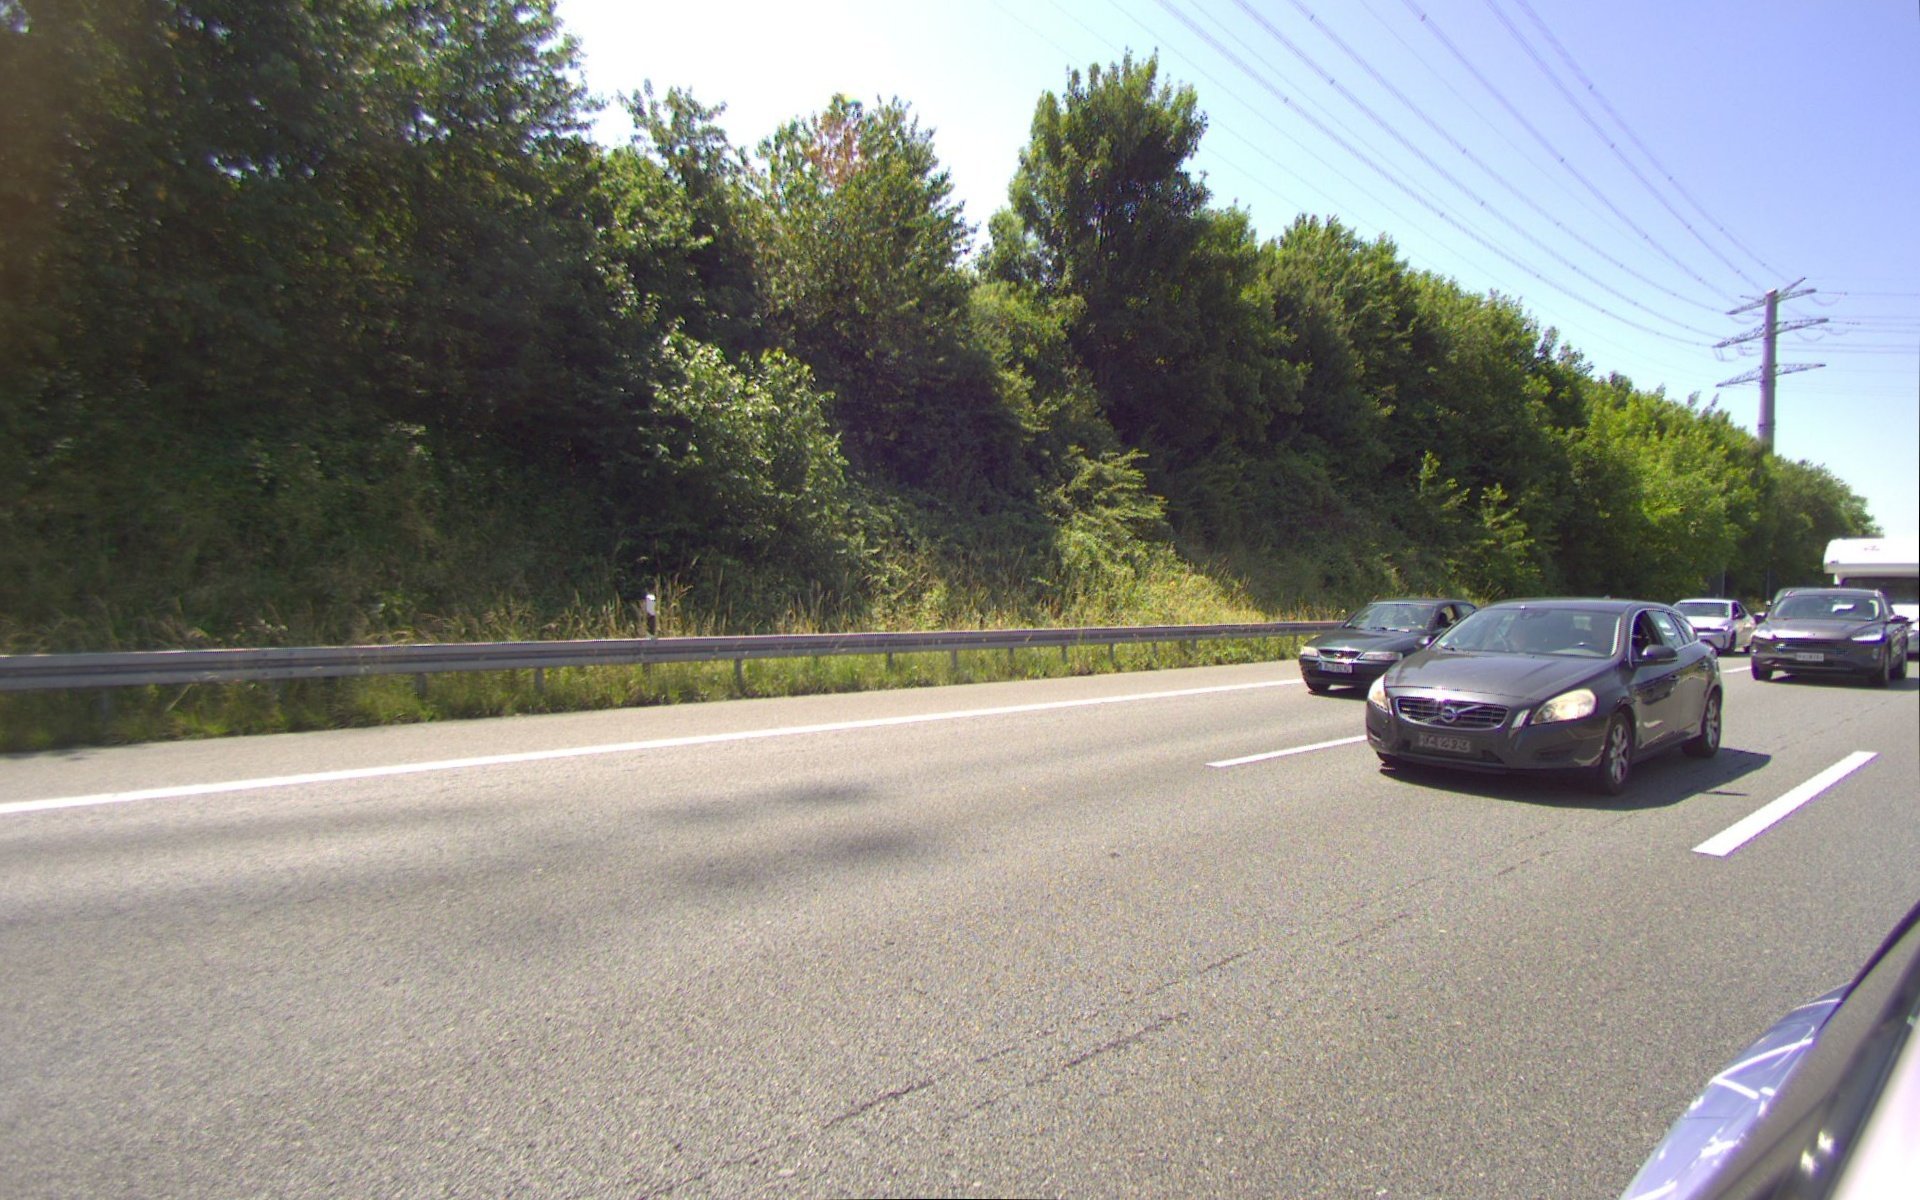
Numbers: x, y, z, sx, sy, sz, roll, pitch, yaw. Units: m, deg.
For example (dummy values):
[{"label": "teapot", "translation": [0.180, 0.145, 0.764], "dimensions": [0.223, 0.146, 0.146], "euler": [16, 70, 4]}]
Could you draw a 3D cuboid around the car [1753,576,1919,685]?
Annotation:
[{"label": "car", "translation": [15.895, 0.450, 18.192], "dimensions": [4.308, 1.724, 1.890], "euler": [-1, 1, -42]}]

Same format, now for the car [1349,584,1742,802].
[{"label": "car", "translation": [5.258, 0.596, 8.845], "dimensions": [4.158, 1.455, 1.798], "euler": [-1, 1, -42]}]

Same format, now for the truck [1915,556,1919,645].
[{"label": "truck", "translation": [37.478, -0.025, 37.049], "dimensions": [9.721, 3.053, 2.513], "euler": [-1, 0, -40]}]

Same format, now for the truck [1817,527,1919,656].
[{"label": "truck", "translation": [26.153, -0.256, 27.672], "dimensions": [9.721, 3.053, 2.513], "euler": [-1, 0, -40]}]

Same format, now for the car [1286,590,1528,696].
[{"label": "car", "translation": [6.926, 0.550, 15.483], "dimensions": [4.227, 1.395, 1.737], "euler": [-1, 0, -41]}]

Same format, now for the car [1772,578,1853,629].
[{"label": "car", "translation": [34.099, 0.100, 40.452], "dimensions": [4.616, 1.928, 1.787], "euler": [-1, 0, -41]}]

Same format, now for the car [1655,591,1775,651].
[{"label": "car", "translation": [20.135, 0.495, 26.942], "dimensions": [3.943, 1.488, 1.744], "euler": [0, 1, -40]}]
